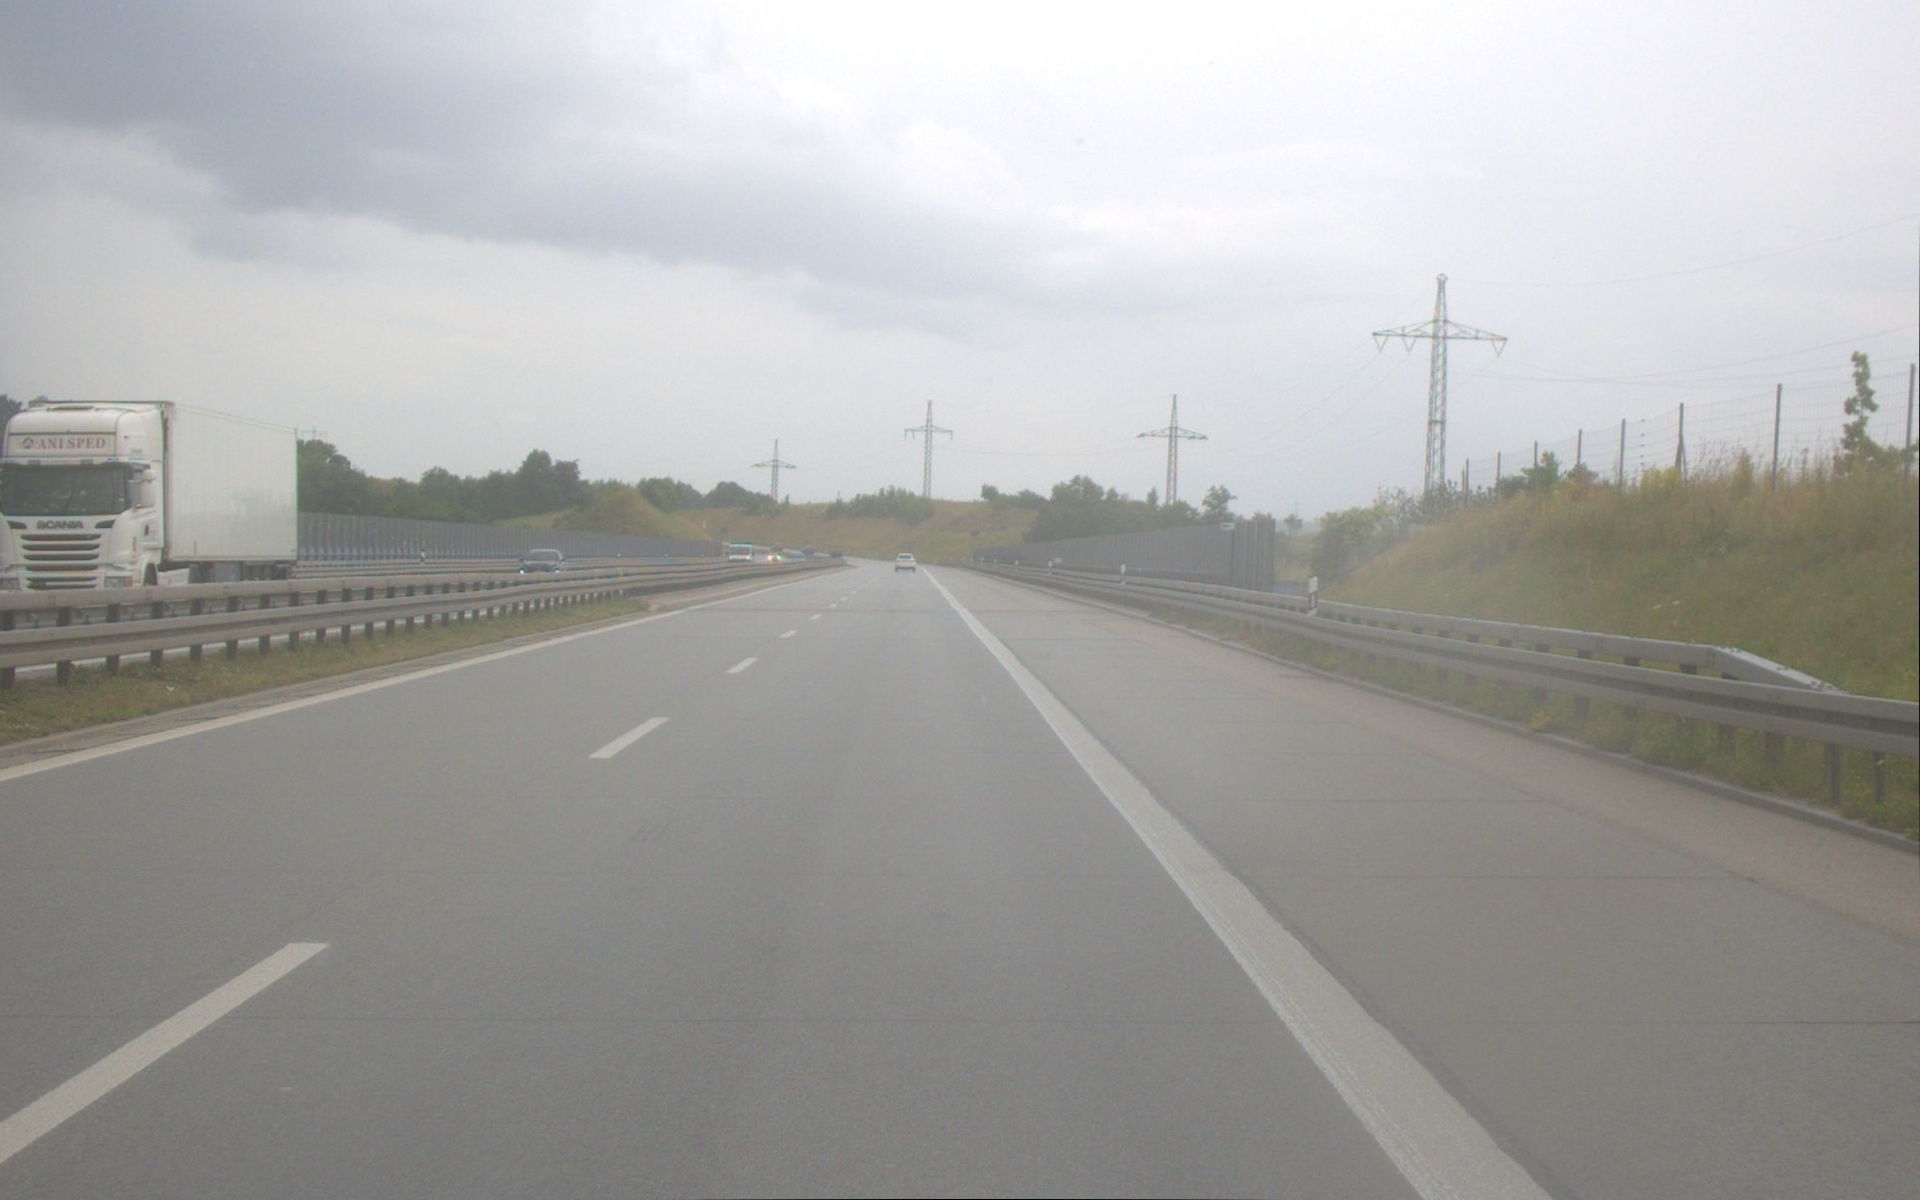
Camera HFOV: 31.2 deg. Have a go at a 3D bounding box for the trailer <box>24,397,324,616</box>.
[{"bbox_3d":[-15.533,-1.807,69.300,2.917,3.912,14.275,1,1,-1],"label":"trailer"}]

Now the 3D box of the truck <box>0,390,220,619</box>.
[{"bbox_3d":[-15.419,-1.692,62.035,2.952,3.912,5.518,1,1,-1],"label":"truck"}]

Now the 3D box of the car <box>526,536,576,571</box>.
[{"bbox_3d":[-16.882,-1.914,142.141,1.631,1.404,4.000,1,1,-1],"label":"car"}]
